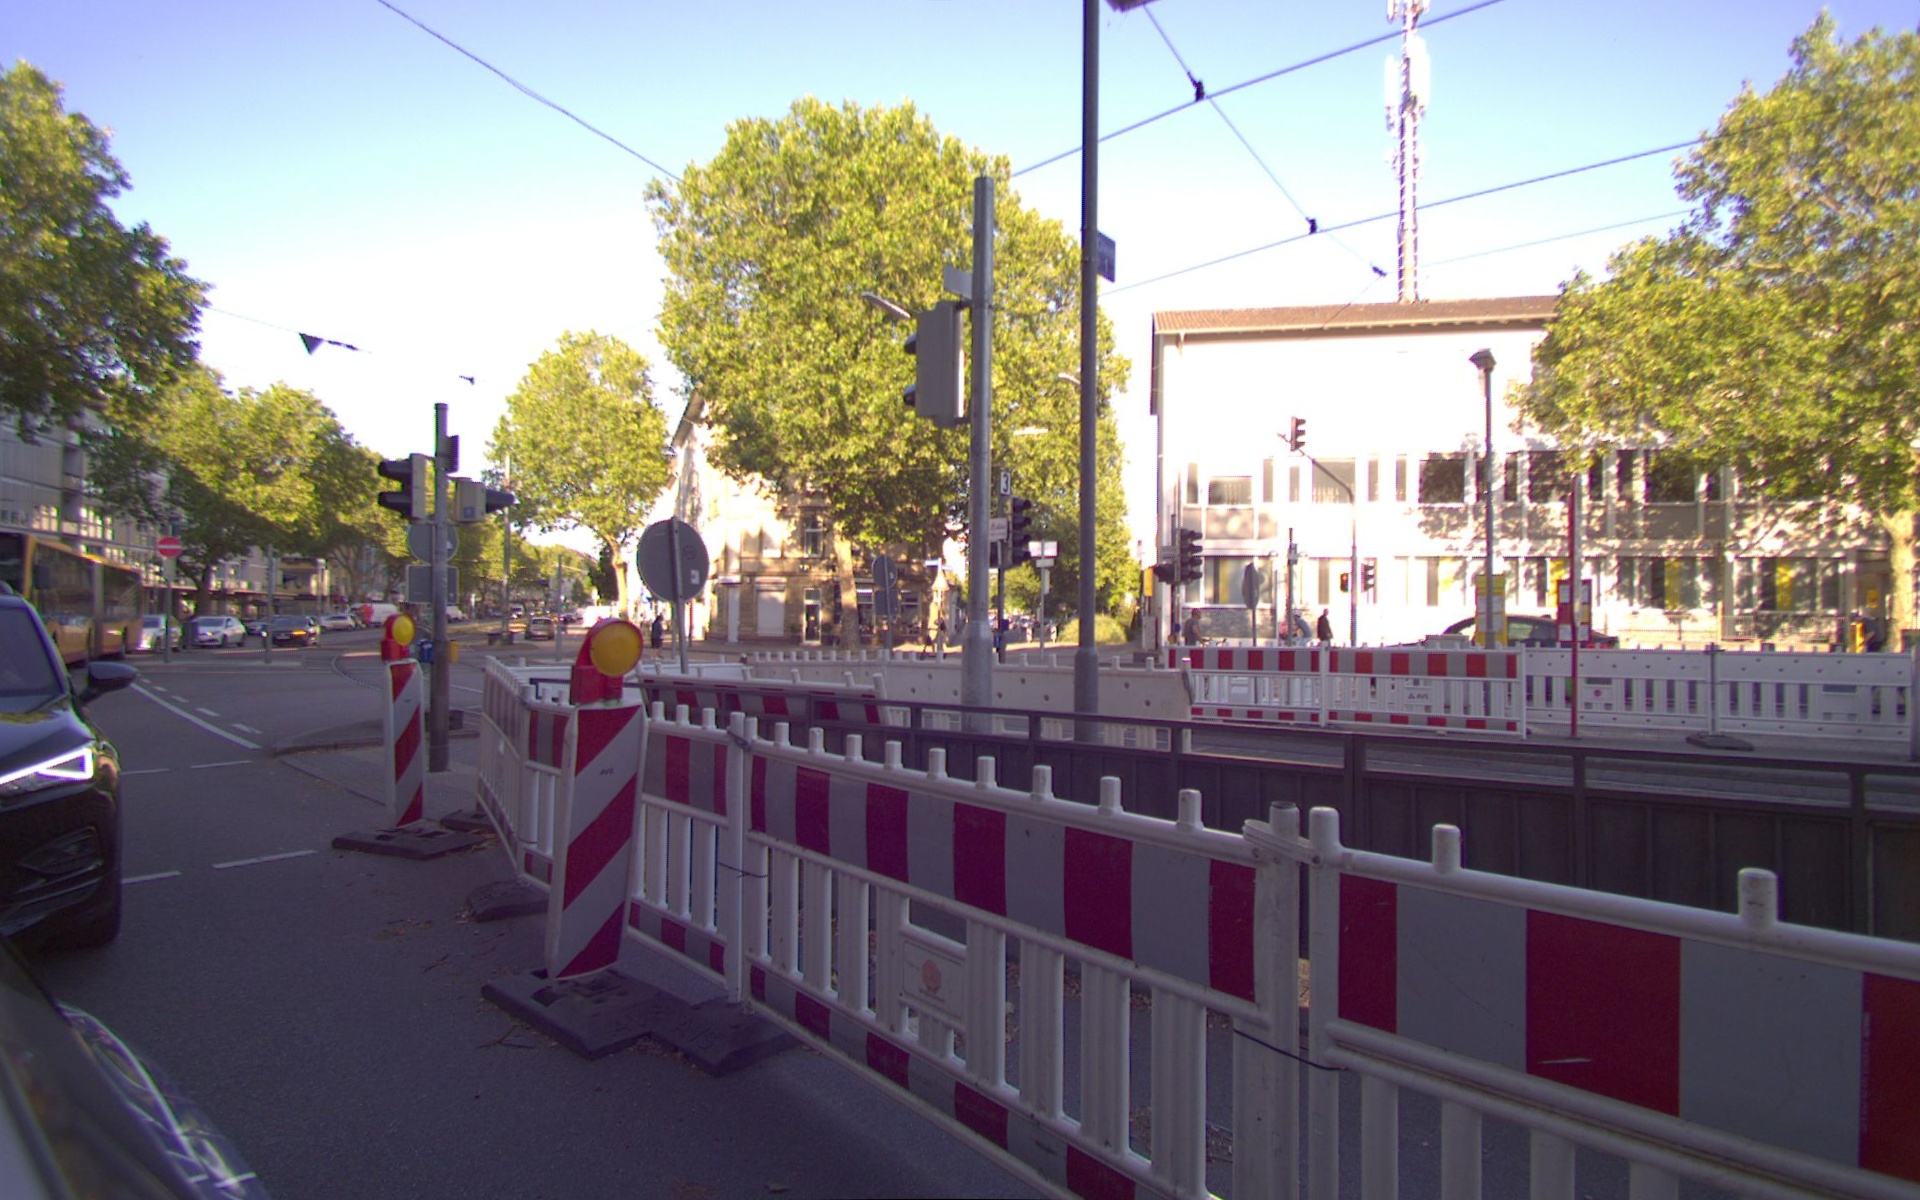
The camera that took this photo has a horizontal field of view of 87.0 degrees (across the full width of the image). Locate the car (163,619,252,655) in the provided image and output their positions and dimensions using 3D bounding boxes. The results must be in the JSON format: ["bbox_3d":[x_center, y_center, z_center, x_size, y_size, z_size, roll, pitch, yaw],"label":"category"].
[{"bbox_3d":[-34.762,1.675,46.898,1.923,1.562,4.771,1,-1,-19],"label":"car"}]

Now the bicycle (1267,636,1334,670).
[{"bbox_3d":[9.721,1.503,28.952,1.769,0.927,0.514,-1,-2,41],"label":"bicycle"}]

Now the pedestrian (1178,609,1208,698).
[{"bbox_3d":[4.590,1.044,19.945,0.539,1.710,0.515,0,-2,18],"label":"pedestrian"}]

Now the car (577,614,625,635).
[{"bbox_3d":[-34.291,2.311,96.691,1.994,1.929,3.954,-1,-2,33],"label":"car"}]

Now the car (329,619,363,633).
[{"bbox_3d":[-59.610,2.495,98.268,1.201,1.355,2.592,0,-1,43],"label":"car"}]

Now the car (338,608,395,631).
[{"bbox_3d":[-61.668,2.010,105.168,1.873,2.394,4.817,0,-1,30],"label":"car"}]

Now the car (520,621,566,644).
[{"bbox_3d":[-26.630,2.038,64.711,1.855,1.420,4.008,1,-1,-10],"label":"car"}]

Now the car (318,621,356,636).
[{"bbox_3d":[-54.999,2.472,89.326,1.201,1.290,2.592,0,-1,43],"label":"car"}]

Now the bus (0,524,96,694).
[{"bbox_3d":[-21.170,0.223,22.080,2.710,3.127,9.519,1,-2,-36],"label":"bus"}]

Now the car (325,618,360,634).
[{"bbox_3d":[-58.208,2.445,95.435,1.201,1.399,2.592,0,-1,43],"label":"car"}]

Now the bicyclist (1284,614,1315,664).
[{"bbox_3d":[9.717,1.101,28.973,0.724,1.407,0.514,-1,-2,41],"label":"bicyclist"}]

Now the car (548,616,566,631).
[{"bbox_3d":[-53.395,3.135,134.095,1.965,1.881,4.012,1,-1,-19],"label":"car"}]

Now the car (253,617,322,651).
[{"bbox_3d":[-31.785,1.566,47.986,1.923,1.486,4.772,1,-1,-24],"label":"car"}]

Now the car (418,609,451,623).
[{"bbox_3d":[-77.587,2.404,149.544,1.874,2.029,3.956,-1,-2,32],"label":"car"}]

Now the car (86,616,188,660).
[{"bbox_3d":[-30.868,1.390,38.105,1.880,1.486,4.433,1,-1,-24],"label":"car"}]

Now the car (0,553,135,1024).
[{"bbox_3d":[-5.305,0.698,4.715,4.301,1.670,1.823,-1,-1,45],"label":"car"}]

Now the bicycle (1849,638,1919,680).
[{"bbox_3d":[21.270,1.346,23.062,1.423,0.920,0.454,0,-2,24],"label":"bicycle"}]

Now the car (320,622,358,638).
[{"bbox_3d":[-53.458,2.567,87.131,1.201,1.290,2.592,0,-1,43],"label":"car"}]

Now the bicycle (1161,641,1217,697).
[{"bbox_3d":[4.600,1.387,20.378,1.086,1.101,0.243,0,-2,19],"label":"bicycle"}]

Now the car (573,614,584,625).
[{"bbox_3d":[-70.896,3.592,188.167,1.875,1.918,4.013,1,-1,-21],"label":"car"}]

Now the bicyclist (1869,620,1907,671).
[{"bbox_3d":[21.198,1.030,23.118,0.504,1.131,0.454,0,-2,24],"label":"bicyclist"}]

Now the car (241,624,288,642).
[{"bbox_3d":[-50.978,2.391,74.187,1.198,1.226,2.599,0,-1,34],"label":"car"}]

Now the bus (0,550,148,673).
[{"bbox_3d":[-26.469,0.377,29.934,2.708,3.127,9.523,1,-2,-32],"label":"bus"}]

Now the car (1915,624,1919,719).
[{"bbox_3d":[17.225,1.162,15.254,3.830,1.588,1.676,-1,-2,34],"label":"car"}]

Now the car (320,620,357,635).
[{"bbox_3d":[-56.686,2.484,92.298,1.201,1.290,2.592,0,-1,43],"label":"car"}]

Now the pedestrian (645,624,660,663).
[{"bbox_3d":[-10.457,1.468,34.412,0.359,1.318,0.403,1,-2,-32],"label":"pedestrian"}]

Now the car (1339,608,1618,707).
[{"bbox_3d":[9.896,1.014,19.471,4.576,1.679,1.878,-1,0,35],"label":"car"}]

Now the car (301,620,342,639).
[{"bbox_3d":[-52.430,2.403,83.080,1.201,1.484,2.592,0,-1,43],"label":"car"}]

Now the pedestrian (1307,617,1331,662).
[{"bbox_3d":[11.079,1.224,31.238,0.626,1.367,0.531,0,-2,27],"label":"pedestrian"}]

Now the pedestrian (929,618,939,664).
[{"bbox_3d":[-1.011,1.579,39.433,0.414,1.780,0.354,0,-1,-1],"label":"pedestrian"}]

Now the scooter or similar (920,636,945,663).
[{"bbox_3d":[-1.061,1.902,39.045,0.969,1.047,0.308,0,-1,0],"label":"scooter or similar"}]
